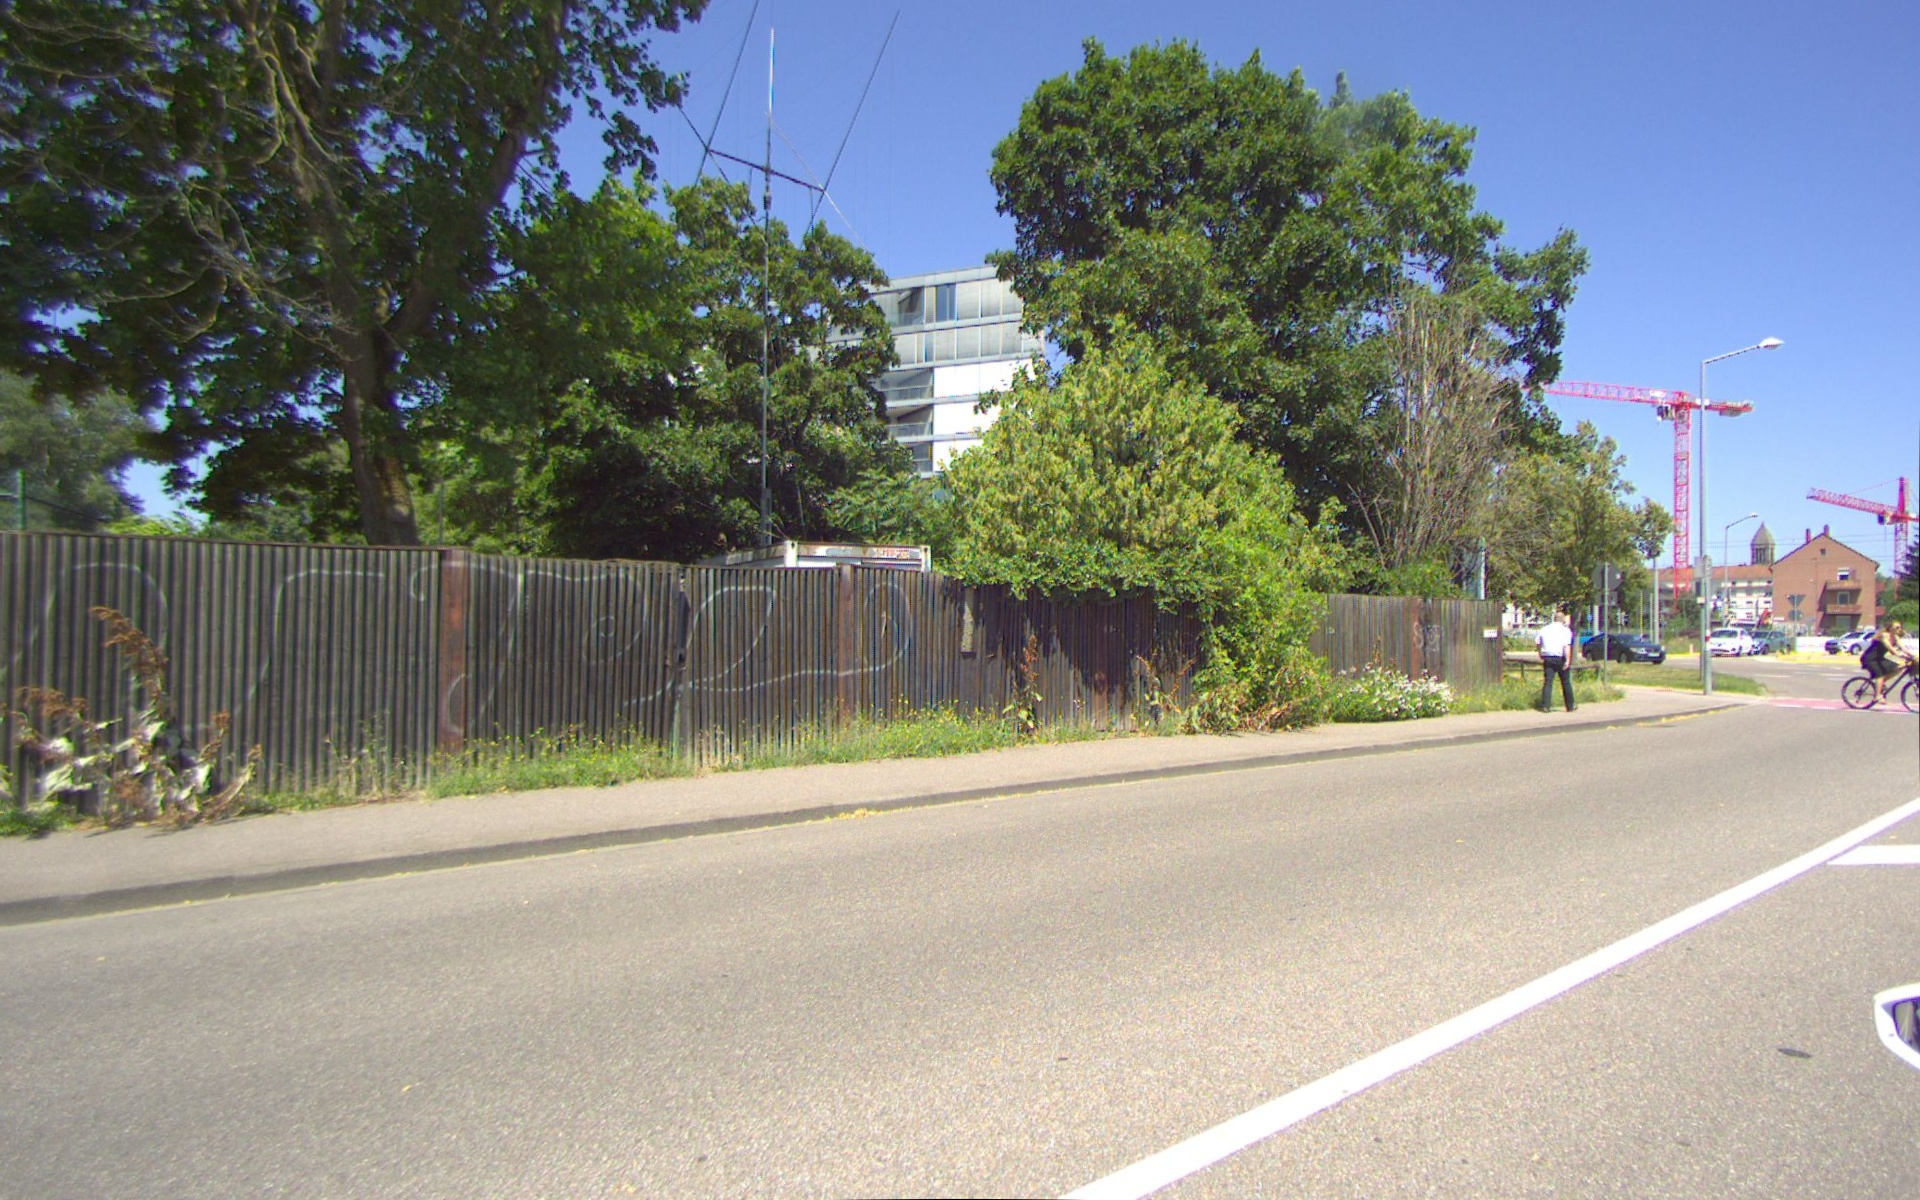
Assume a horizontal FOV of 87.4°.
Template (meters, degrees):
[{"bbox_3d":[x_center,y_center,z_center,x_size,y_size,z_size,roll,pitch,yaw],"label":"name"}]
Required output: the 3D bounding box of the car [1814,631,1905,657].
[{"bbox_3d":[55.774,2.698,62.339,4.188,1.421,1.732,2,0,-3],"label":"car"}]

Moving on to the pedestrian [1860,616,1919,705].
[{"bbox_3d":[18.617,1.197,20.072,0.566,1.714,0.731,2,0,-20],"label":"pedestrian"}]

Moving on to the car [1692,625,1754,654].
[{"bbox_3d":[42.215,2.150,55.555,3.837,1.547,1.763,1,-2,-37],"label":"car"}]

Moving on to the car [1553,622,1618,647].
[{"bbox_3d":[49.290,2.694,79.180,1.863,1.795,3.950,2,0,-42],"label":"car"}]

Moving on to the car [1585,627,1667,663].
[{"bbox_3d":[31.553,2.109,47.746,1.693,1.572,4.346,0,-1,11],"label":"car"}]

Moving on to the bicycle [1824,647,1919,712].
[{"bbox_3d":[18.586,1.573,20.146,0.604,1.247,1.841,2,-3,-19],"label":"bicycle"}]

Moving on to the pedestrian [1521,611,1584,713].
[{"bbox_3d":[10.862,1.115,18.417,0.960,1.810,0.631,2,0,-36],"label":"pedestrian"}]

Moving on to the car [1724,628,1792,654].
[{"bbox_3d":[46.748,2.407,58.834,4.282,1.390,1.737,2,0,-31],"label":"car"}]
